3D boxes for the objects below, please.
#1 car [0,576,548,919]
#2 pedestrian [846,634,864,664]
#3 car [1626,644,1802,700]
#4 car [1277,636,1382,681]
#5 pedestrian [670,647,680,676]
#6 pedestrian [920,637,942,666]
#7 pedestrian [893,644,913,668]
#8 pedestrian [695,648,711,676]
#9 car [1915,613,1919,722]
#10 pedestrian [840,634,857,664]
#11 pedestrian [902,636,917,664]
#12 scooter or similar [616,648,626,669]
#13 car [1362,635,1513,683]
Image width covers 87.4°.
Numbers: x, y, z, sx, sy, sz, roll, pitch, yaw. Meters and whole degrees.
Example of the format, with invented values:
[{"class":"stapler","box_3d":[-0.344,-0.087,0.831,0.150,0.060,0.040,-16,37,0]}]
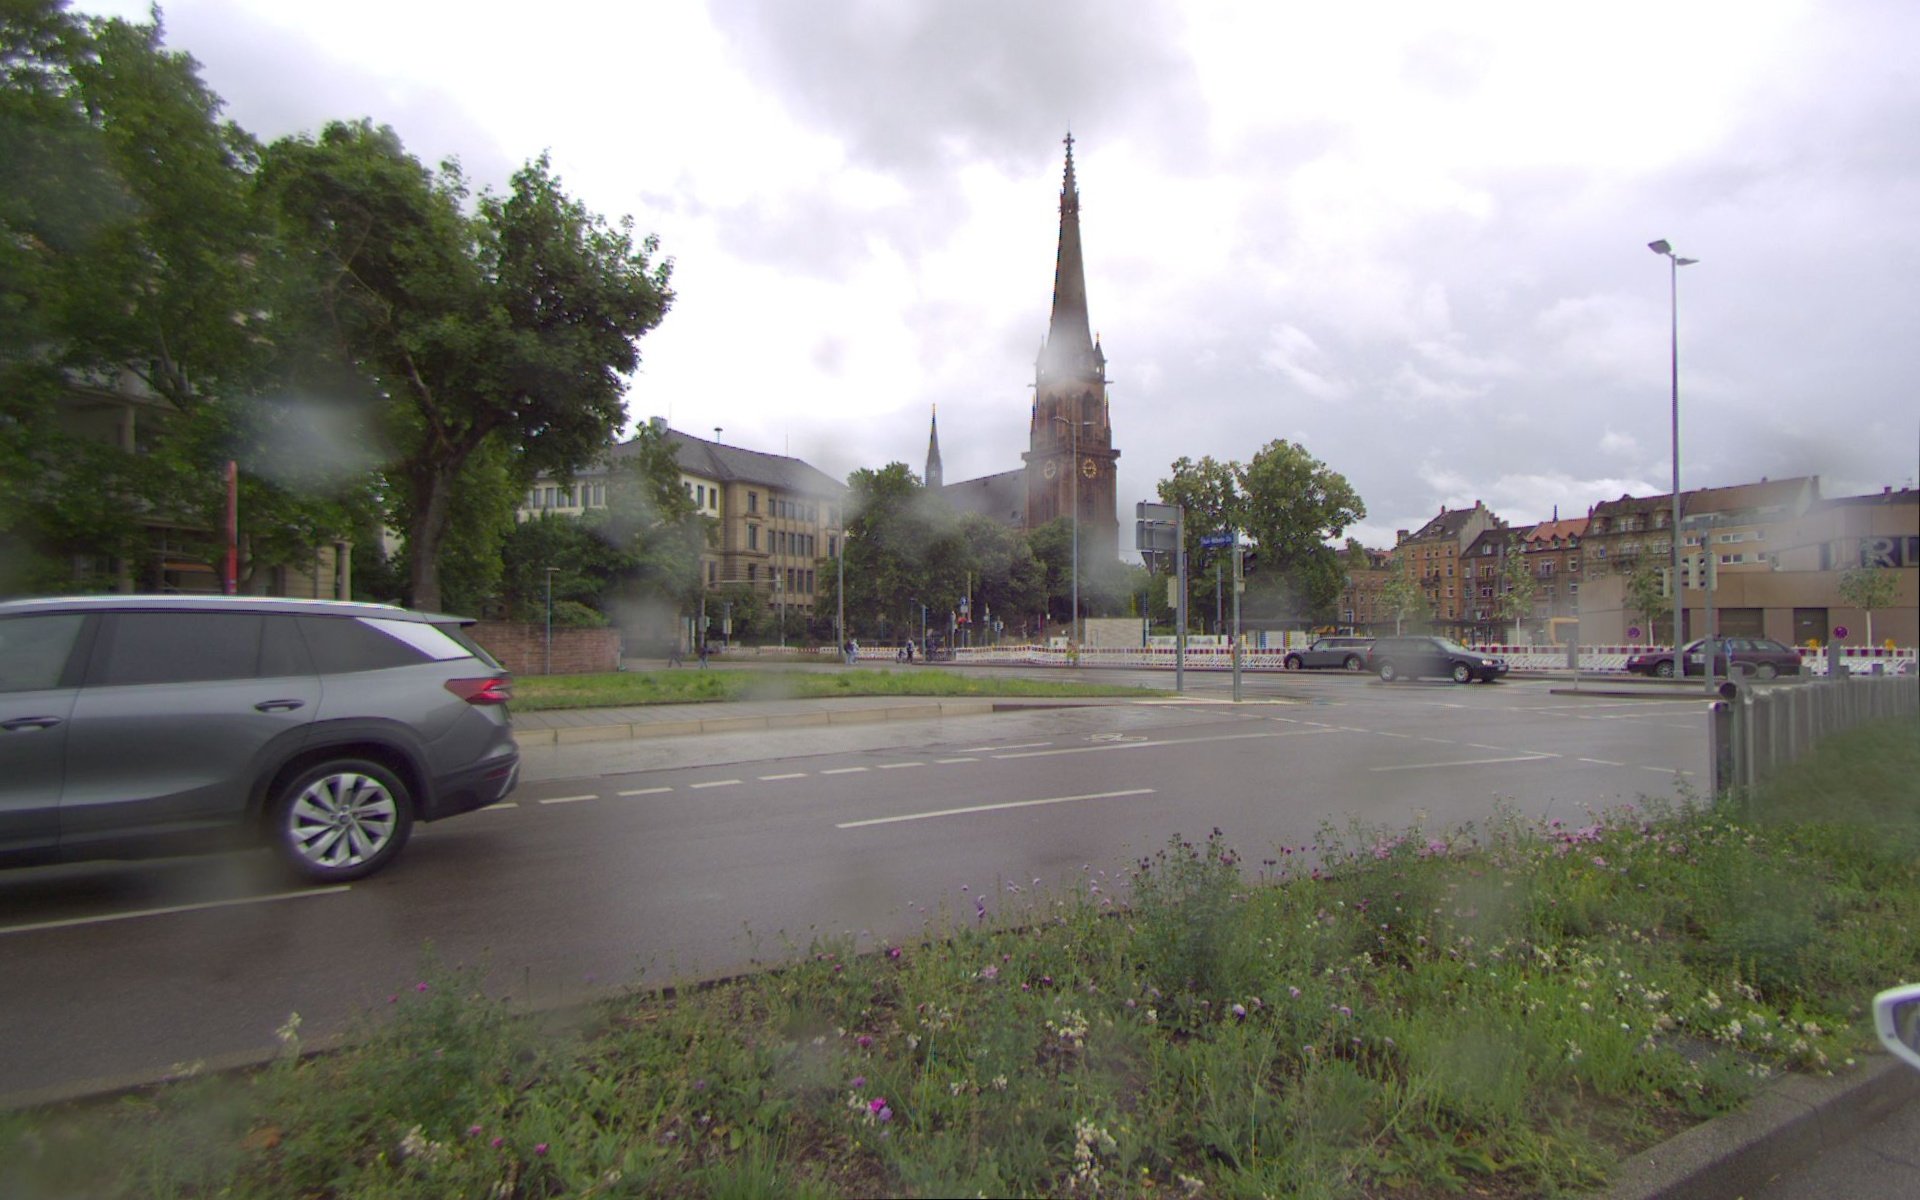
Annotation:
[{"class":"car","box_3d":[-4.970,0.777,5.840,4.549,1.657,1.985,1,-4,-31]},{"class":"pedestrian","box_3d":[-7.126,3.294,68.134,0.945,2.040,0.852,1,-2,-30]},{"class":"car","box_3d":[24.911,2.334,33.379,4.376,1.728,1.710,-1,-2,24]},{"class":"car","box_3d":[15.118,2.365,41.262,1.695,1.728,3.781,1,-2,-36]},{"class":"pedestrian","box_3d":[-19.367,4.192,68.271,0.593,1.915,0.604,1,-2,-19]},{"class":"pedestrian","box_3d":[-2.051,3.612,70.504,0.981,2.040,1.305,-1,-2,34]},{"class":"pedestrian","box_3d":[-3.861,3.762,67.785,0.917,1.560,1.057,-1,-2,34]},{"class":"pedestrian","box_3d":[-14.350,3.461,56.060,0.662,1.520,0.774,0,-2,0]},{"class":"car","box_3d":[17.762,1.099,16.078,5.094,1.704,1.821,1,0,-25]},{"class":"pedestrian","box_3d":[-7.650,3.354,68.930,0.945,2.040,0.852,1,-2,-30]},{"class":"pedestrian","box_3d":[-3.296,3.269,65.779,0.765,1.801,0.720,1,-2,-30]},{"class":"scooter or similar","box_3d":[-18.103,3.110,53.649,0.274,1.096,1.078,0,-2,-4]},{"class":"car","box_3d":[15.310,1.859,32.406,1.602,1.420,4.164,1,-2,-35]}]
